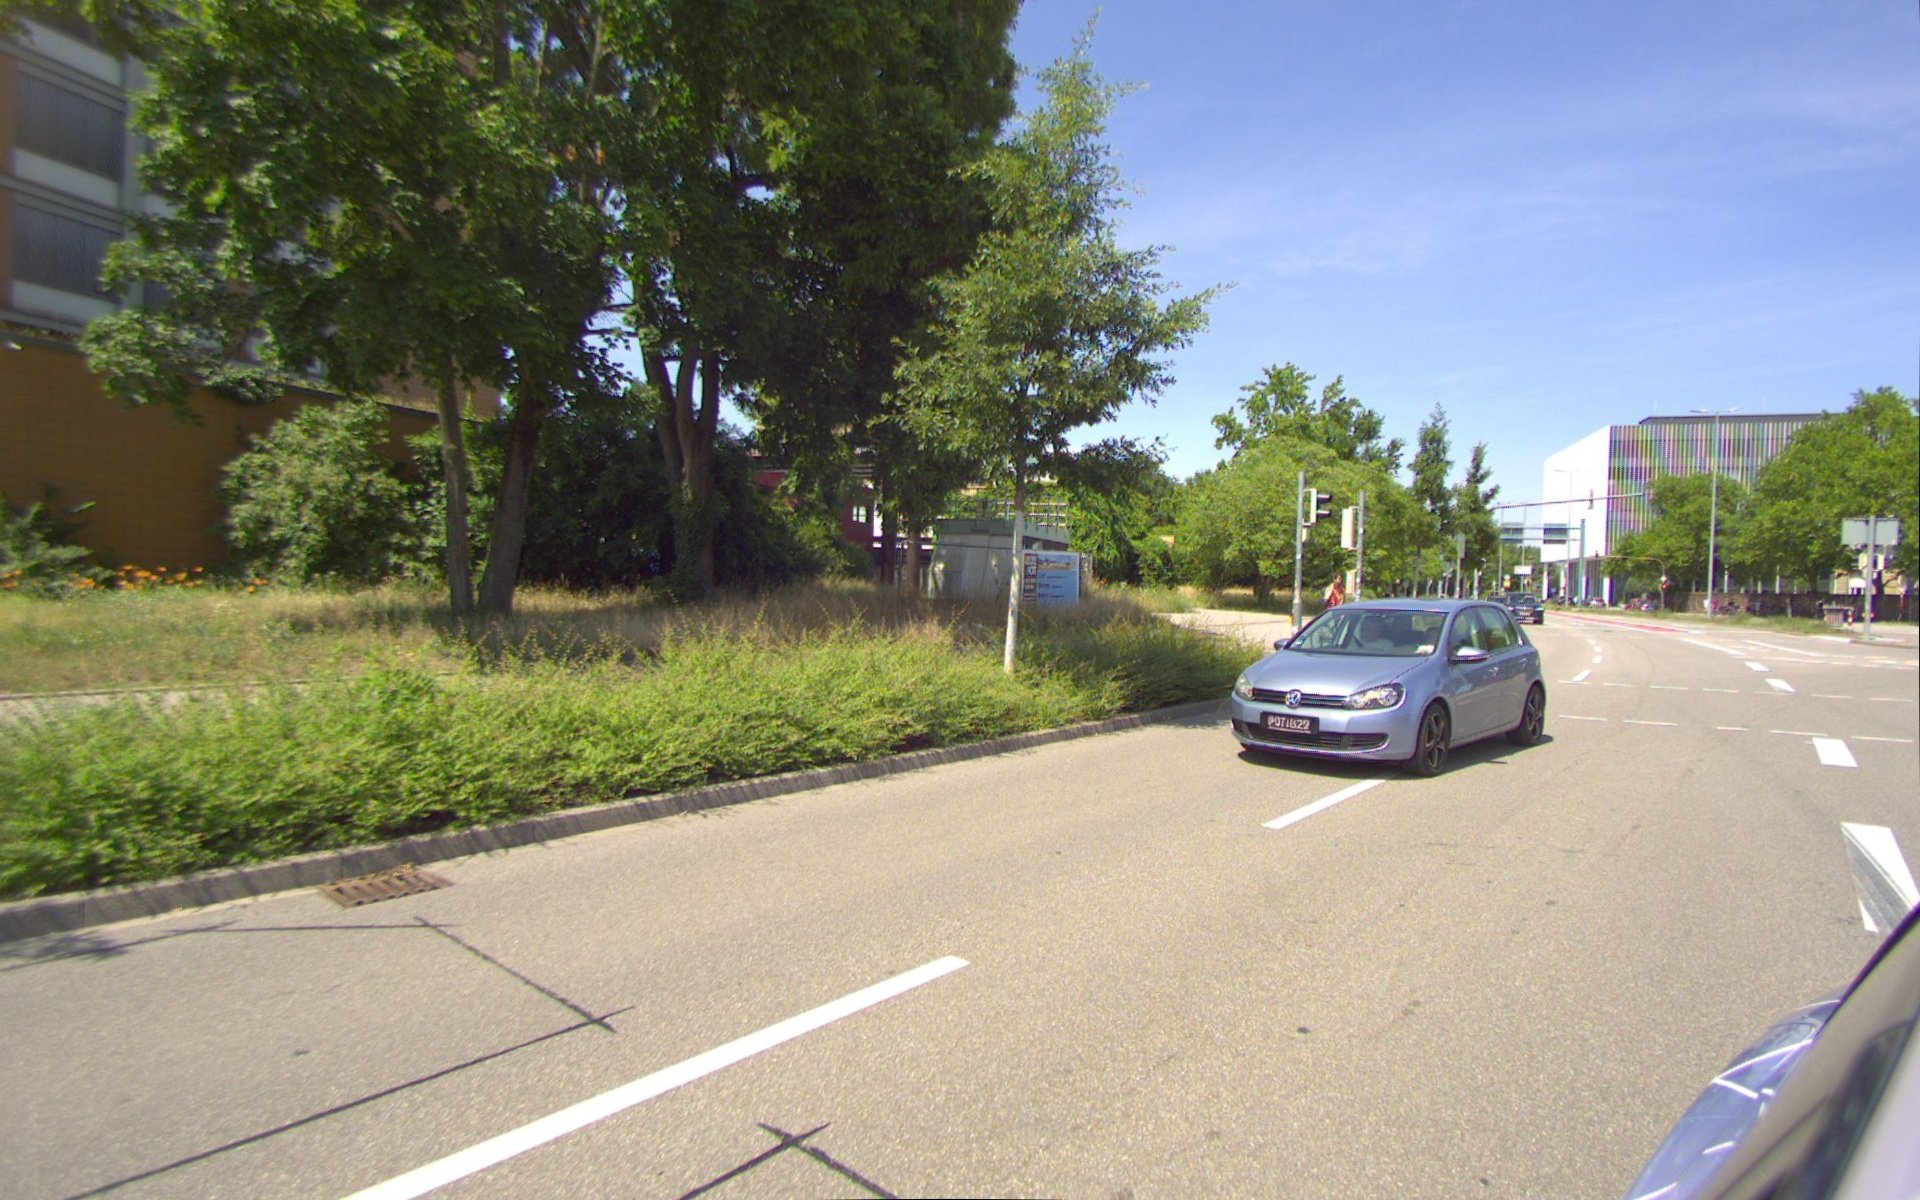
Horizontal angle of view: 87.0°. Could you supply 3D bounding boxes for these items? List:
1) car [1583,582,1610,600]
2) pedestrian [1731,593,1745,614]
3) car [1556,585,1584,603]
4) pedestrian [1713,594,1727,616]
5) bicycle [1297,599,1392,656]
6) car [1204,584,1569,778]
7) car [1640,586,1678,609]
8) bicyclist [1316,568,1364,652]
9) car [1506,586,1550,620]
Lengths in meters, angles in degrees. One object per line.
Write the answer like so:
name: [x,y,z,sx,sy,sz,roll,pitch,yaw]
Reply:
car: [66.467,-0.911,105.779,1.762,1.705,3.967,2,-1,24]
pedestrian: [74.362,0.341,96.699,0.780,2.039,0.834,2,-1,21]
car: [64.252,-0.638,106.649,1.756,1.689,3.973,2,-1,19]
pedestrian: [72.948,0.484,97.138,0.780,2.039,0.957,2,-1,21]
bicycle: [8.191,0.562,21.665,0.547,1.058,2.001,3,1,-28]
car: [4.214,0.586,9.706,3.928,1.432,1.829,-1,2,-44]
car: [66.693,-0.240,96.611,1.977,2.039,4.182,2,-1,22]
bicyclist: [8.160,0.208,21.745,0.540,1.737,0.704,3,0,-28]
car: [30.105,0.196,53.730,1.692,1.606,4.513,2,-1,26]
